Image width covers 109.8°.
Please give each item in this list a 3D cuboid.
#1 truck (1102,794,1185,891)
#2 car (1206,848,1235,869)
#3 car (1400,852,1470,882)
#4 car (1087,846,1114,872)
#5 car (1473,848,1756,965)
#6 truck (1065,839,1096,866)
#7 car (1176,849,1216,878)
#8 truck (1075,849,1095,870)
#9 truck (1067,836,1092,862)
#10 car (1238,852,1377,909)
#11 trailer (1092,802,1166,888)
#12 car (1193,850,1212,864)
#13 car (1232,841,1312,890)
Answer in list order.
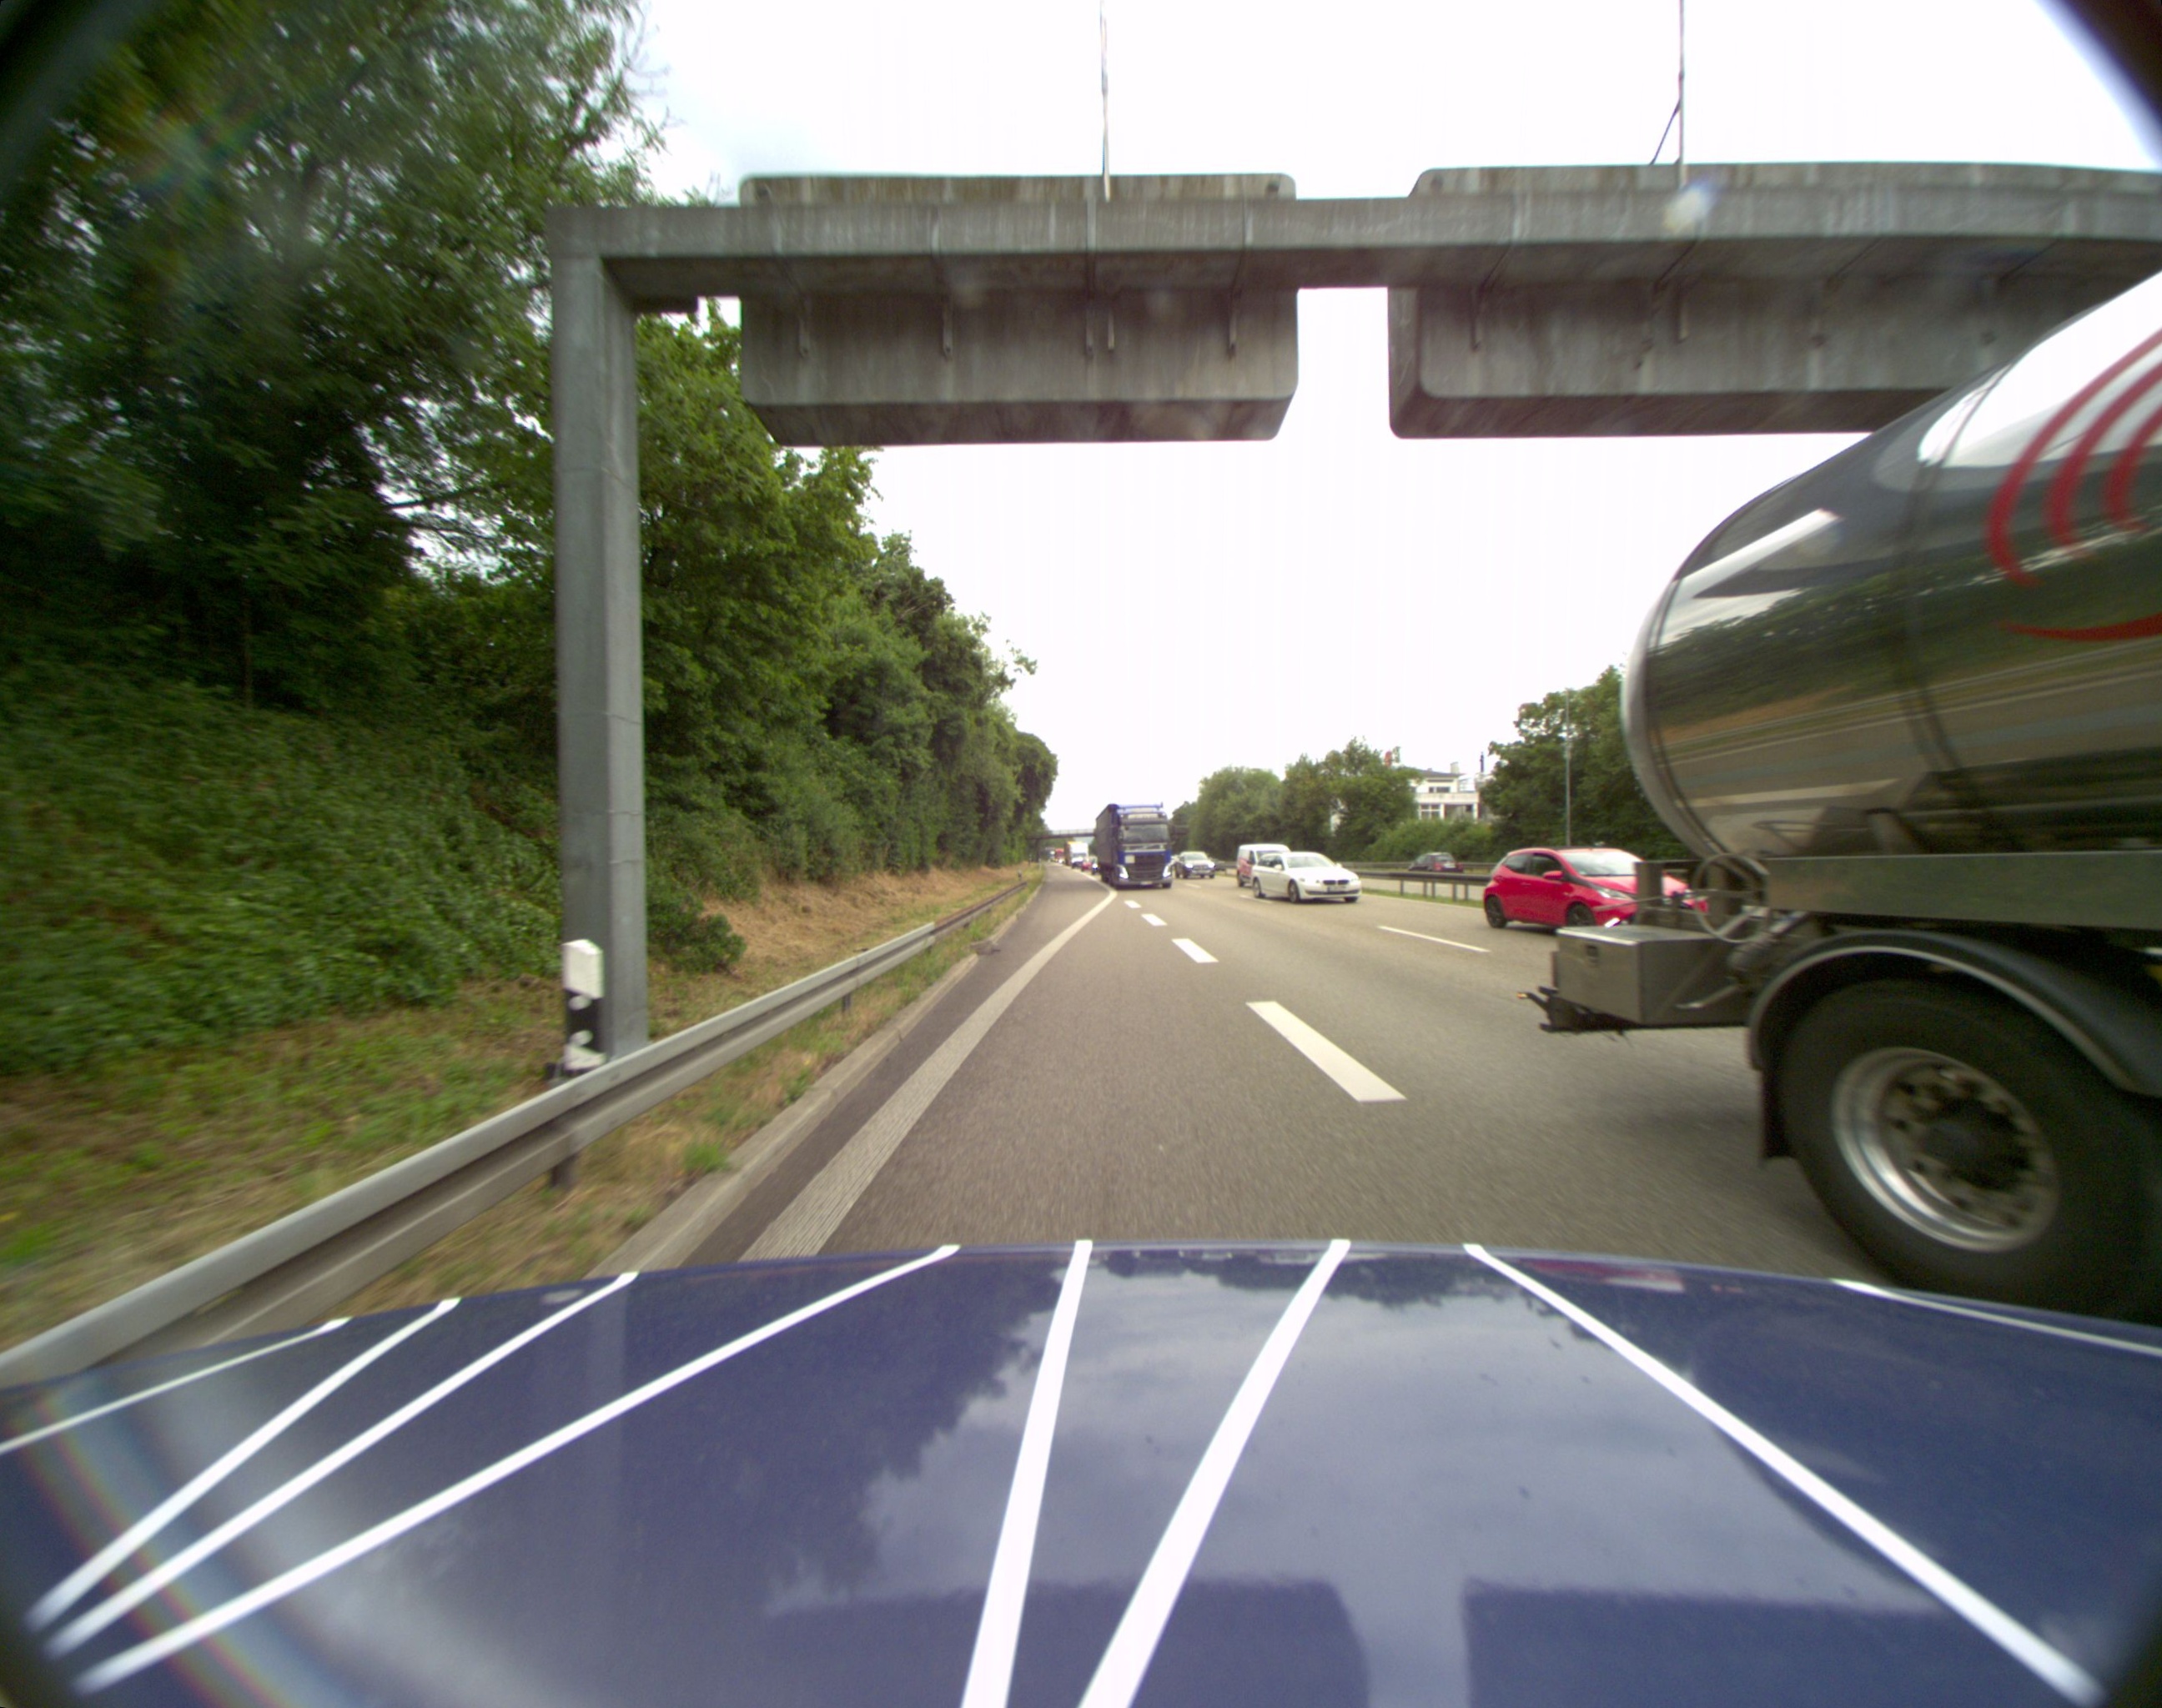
[{"bbox_3d":[2.700,-0.493,35.455,2.961,3.946,7.469,-2,0,-1],"label":"truck"},{"bbox_3d":[13.326,0.426,72.890,1.999,2.002,3.999,-1,0,-1],"label":"car"},{"bbox_3d":[18.622,0.660,40.154,1.578,1.487,3.831,-1,0,-5],"label":"car"},{"bbox_3d":[1.542,0.407,60.965,1.751,2.002,3.998,-1,0,-4],"label":"car"},{"bbox_3d":[8.072,0.676,12.032,1.631,1.515,4.089,-1,1,0],"label":"car"},{"bbox_3d":[-0.141,-0.194,97.067,3.366,3.099,7.237,-3,1,-4],"label":"truck"},{"bbox_3d":[6.922,0.559,46.160,1.848,1.641,4.000,-1,0,0],"label":"car"},{"bbox_3d":[0.417,0.507,76.715,1.894,2.002,6.091,-1,0,1],"label":"truck"},{"bbox_3d":[-0.285,-0.795,126.964,3.366,4.041,10.180,-3,1,-3],"label":"truck"},{"bbox_3d":[6.534,0.692,22.706,2.064,1.455,5.255,-1,0,-7],"label":"car"},{"bbox_3d":[2.407,-0.479,43.090,2.845,4.013,13.083,-3,1,-1],"label":"trailer"},{"bbox_3d":[15.894,0.409,99.376,1.578,1.756,4.277,-1,0,-4],"label":"car"},{"bbox_3d":[7.741,0.443,31.328,1.852,1.839,5.006,-1,0,-2],"label":"car"}]
